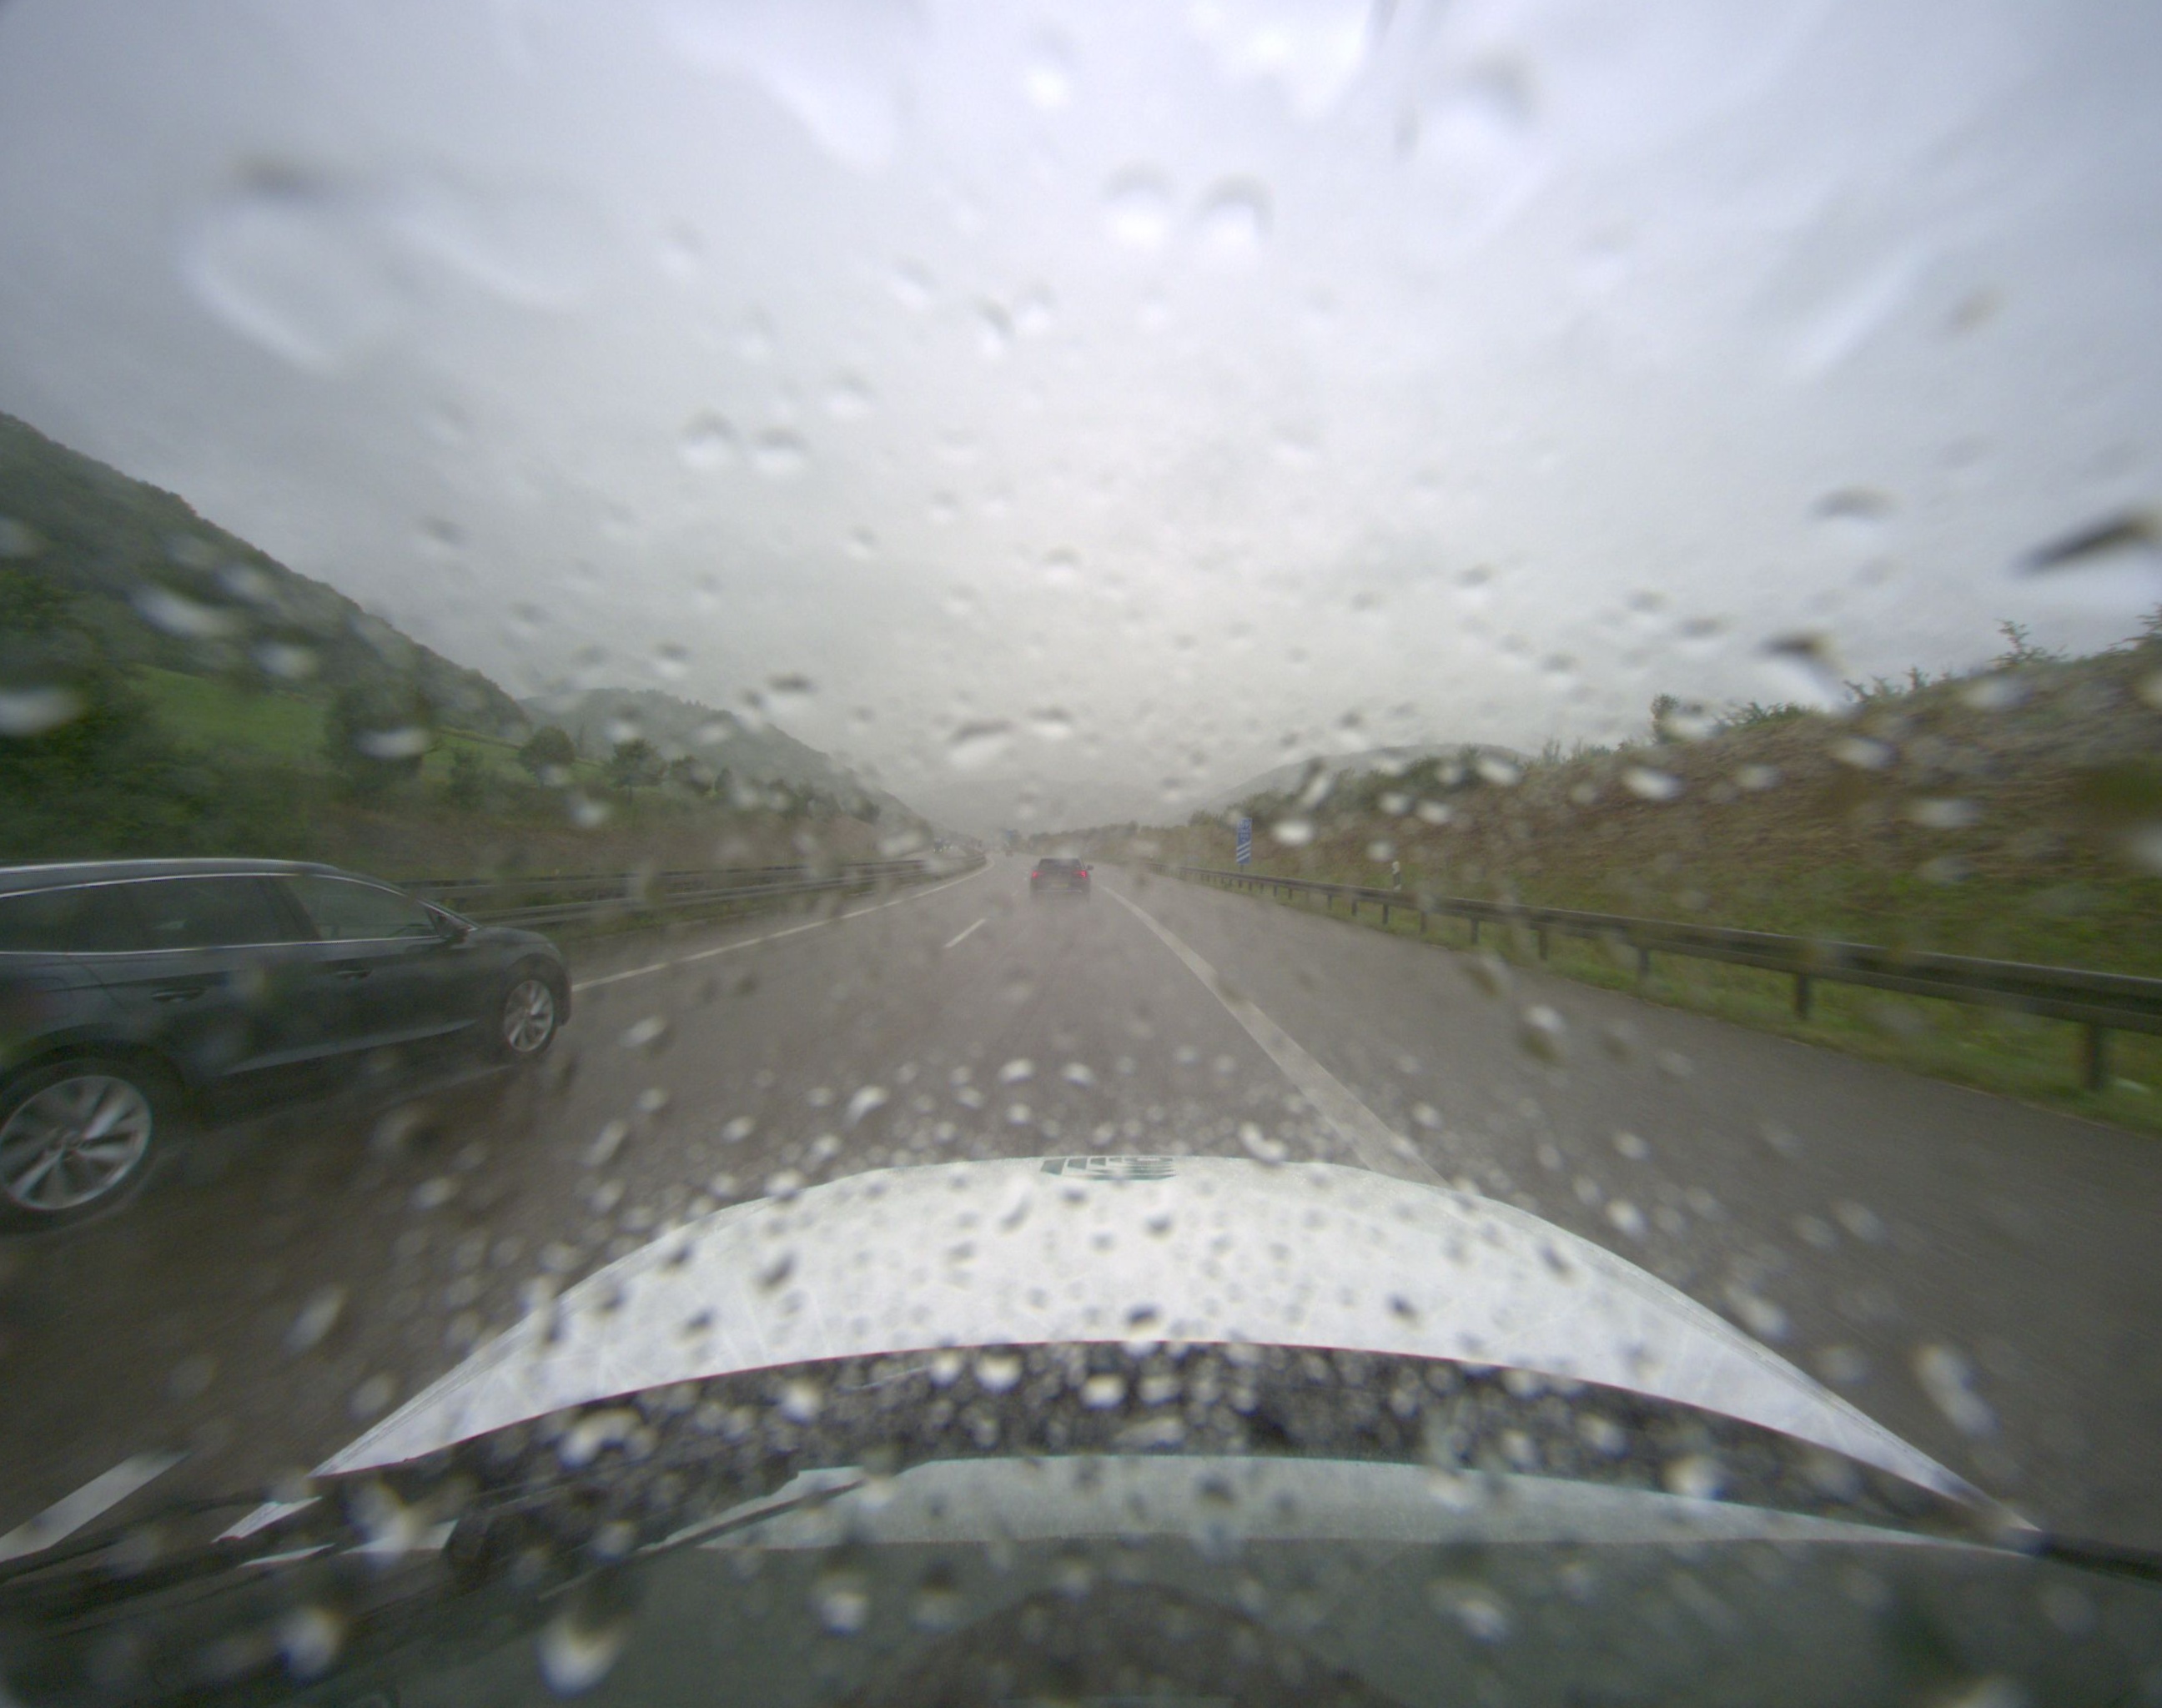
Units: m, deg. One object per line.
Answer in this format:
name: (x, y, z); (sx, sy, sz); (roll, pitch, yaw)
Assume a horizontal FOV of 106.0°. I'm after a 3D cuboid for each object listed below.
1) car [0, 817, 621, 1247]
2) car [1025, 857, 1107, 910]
car: (-5.201, 0.766, 4.865); (1.986, 1.683, 4.910); (-2, -1, 1)
car: (-0.468, 0.899, 26.344); (2.399, 1.515, 4.781); (1, -1, -1)
